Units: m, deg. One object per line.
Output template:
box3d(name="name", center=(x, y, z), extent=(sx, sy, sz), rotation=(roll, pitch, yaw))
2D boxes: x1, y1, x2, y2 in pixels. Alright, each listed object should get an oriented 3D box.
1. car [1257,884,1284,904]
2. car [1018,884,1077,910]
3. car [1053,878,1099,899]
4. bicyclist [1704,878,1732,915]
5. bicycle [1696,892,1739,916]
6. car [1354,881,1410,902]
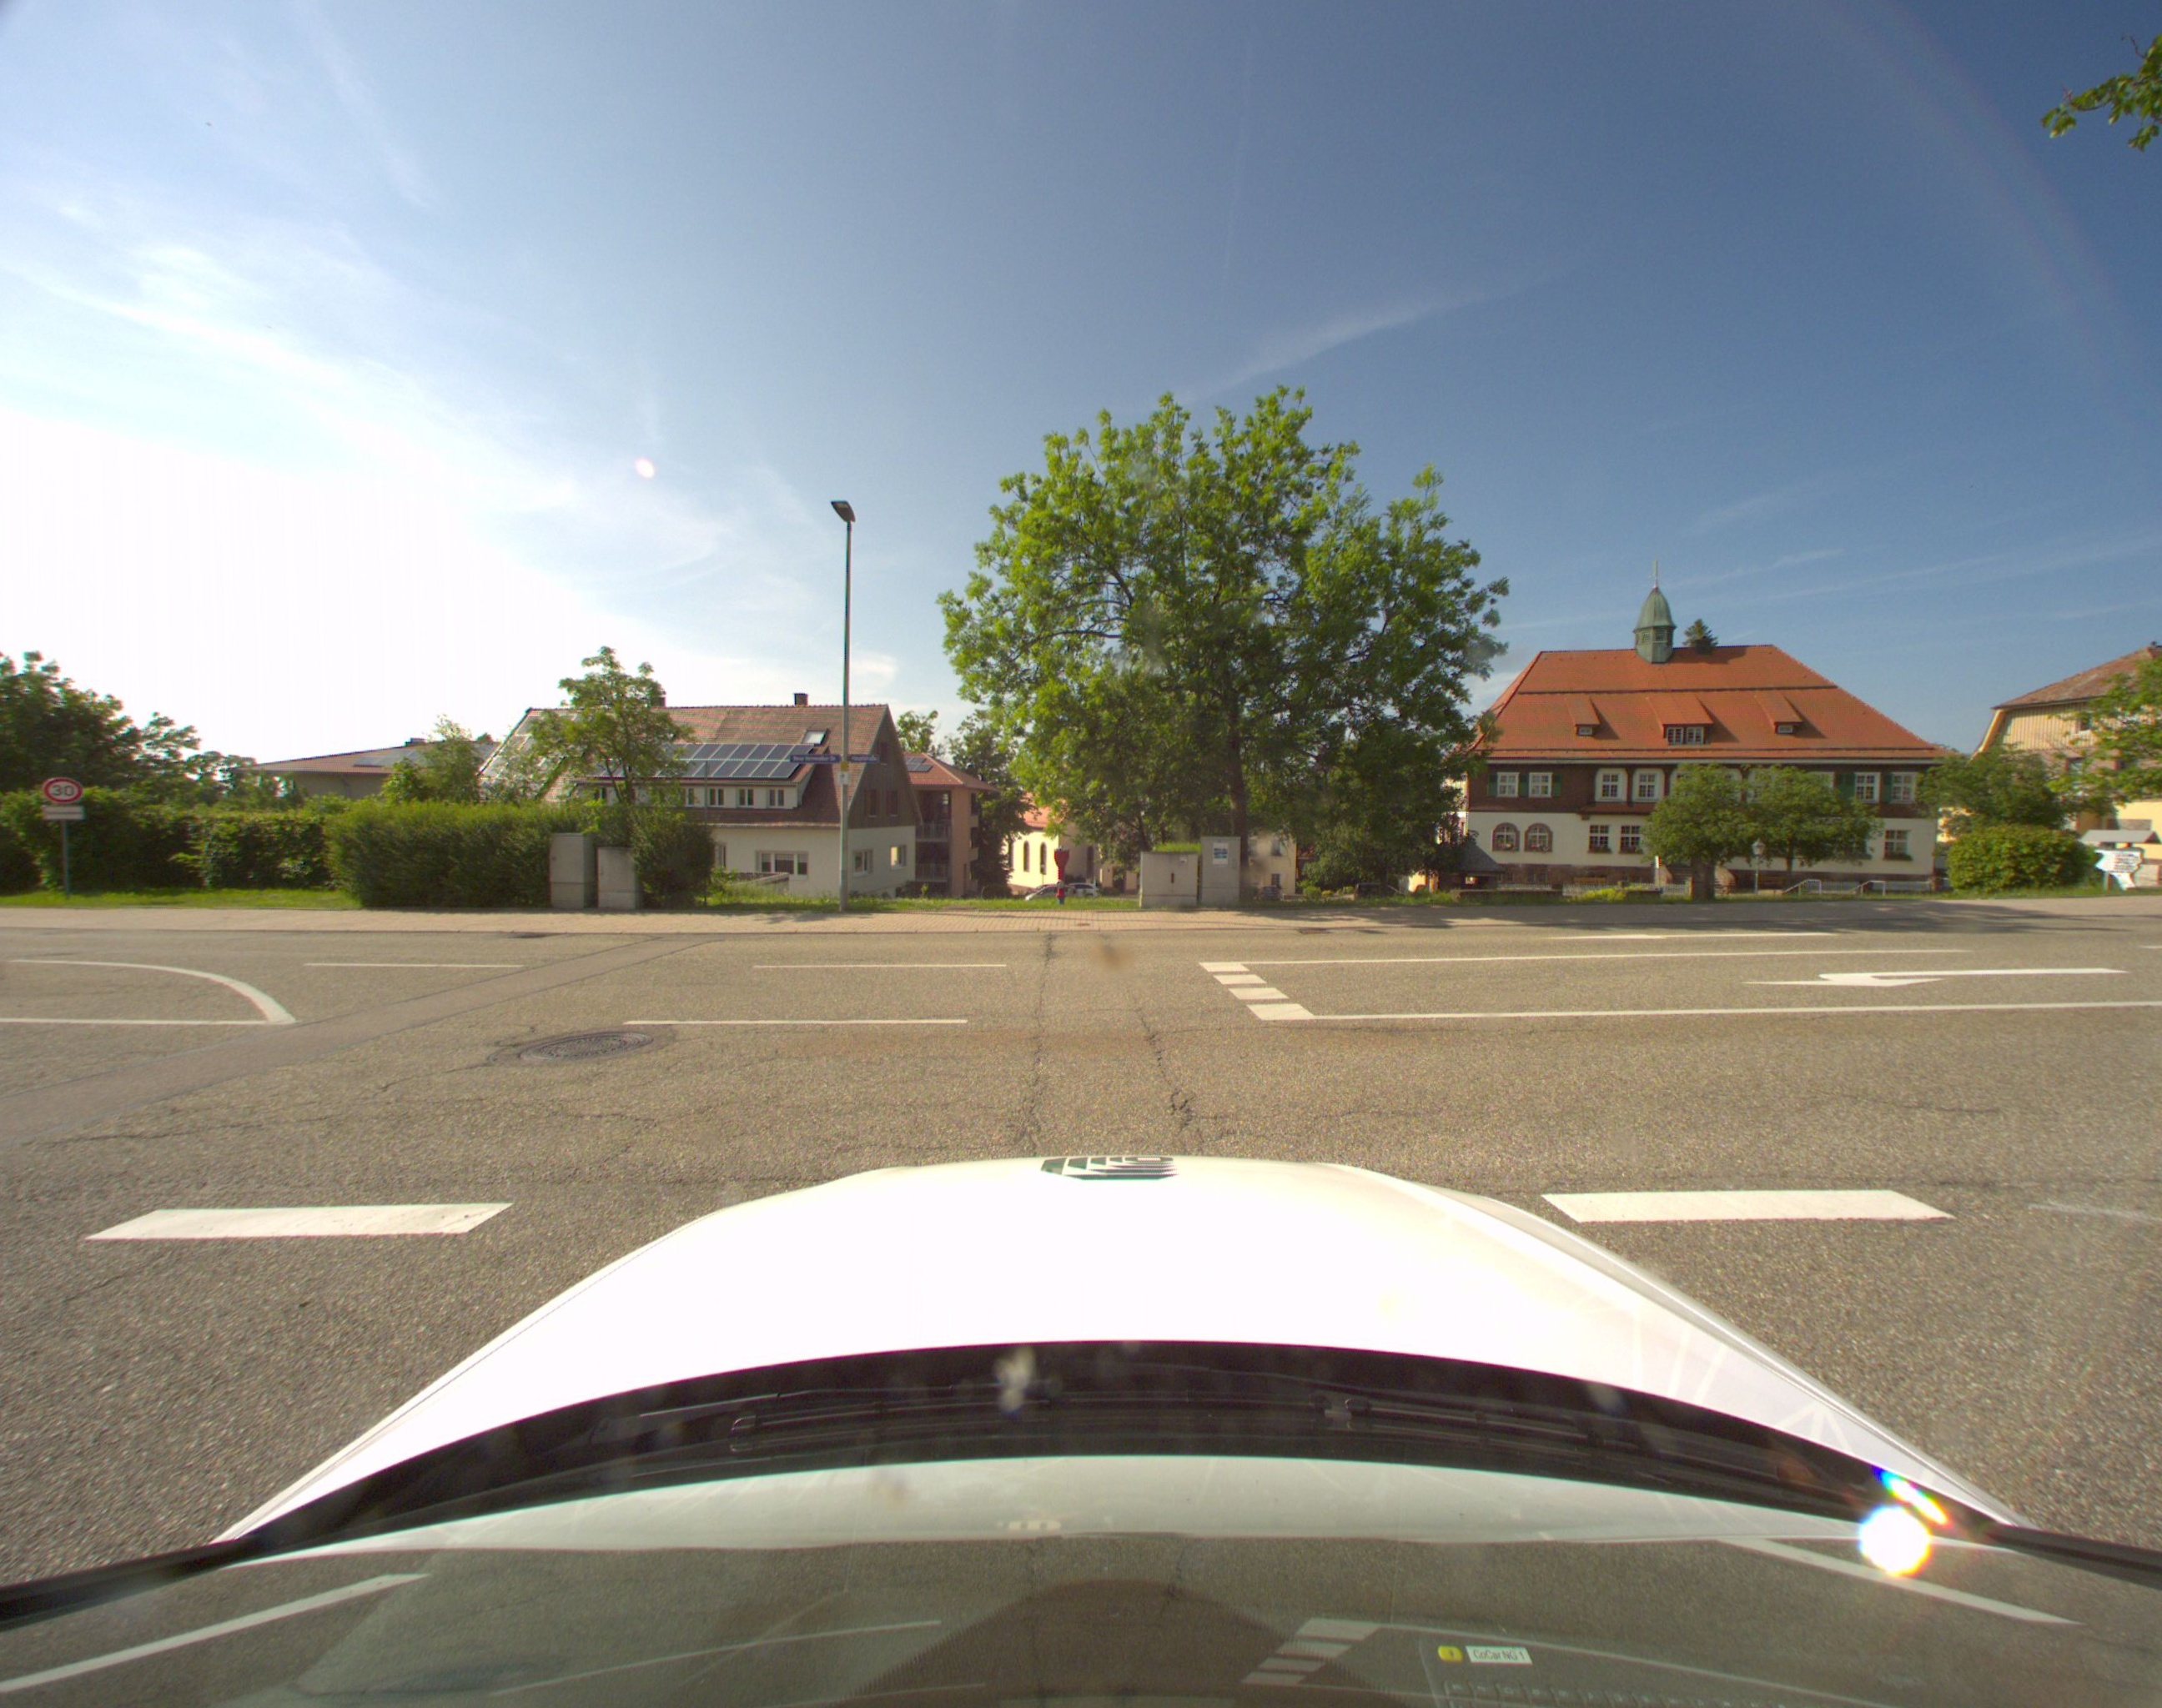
box3d(name="car", center=(15.744, 3.296, 67.658), extent=(1.699, 1.542, 3.791), rotation=(-1, -1, 6))
box3d(name="car", center=(-2.384, 3.048, 57.828), extent=(4.081, 1.758, 1.711), rotation=(-1, -1, -3))
box3d(name="car", center=(-0.439, 2.898, 68.639), extent=(3.765, 1.593, 1.711), rotation=(-1, -1, -4))
box3d(name="bicyclist", center=(33.673, 2.216, 43.062), extent=(0.987, 1.925, 0.584), rotation=(-1, -1, 16))
box3d(name="bicycle", center=(33.660, 2.637, 43.057), extent=(1.709, 1.190, 0.541), rotation=(-1, -1, 16))
box3d(name="car", center=(22.554, 2.820, 61.135), extent=(3.746, 1.444, 1.720), rotation=(-1, -1, 14))
